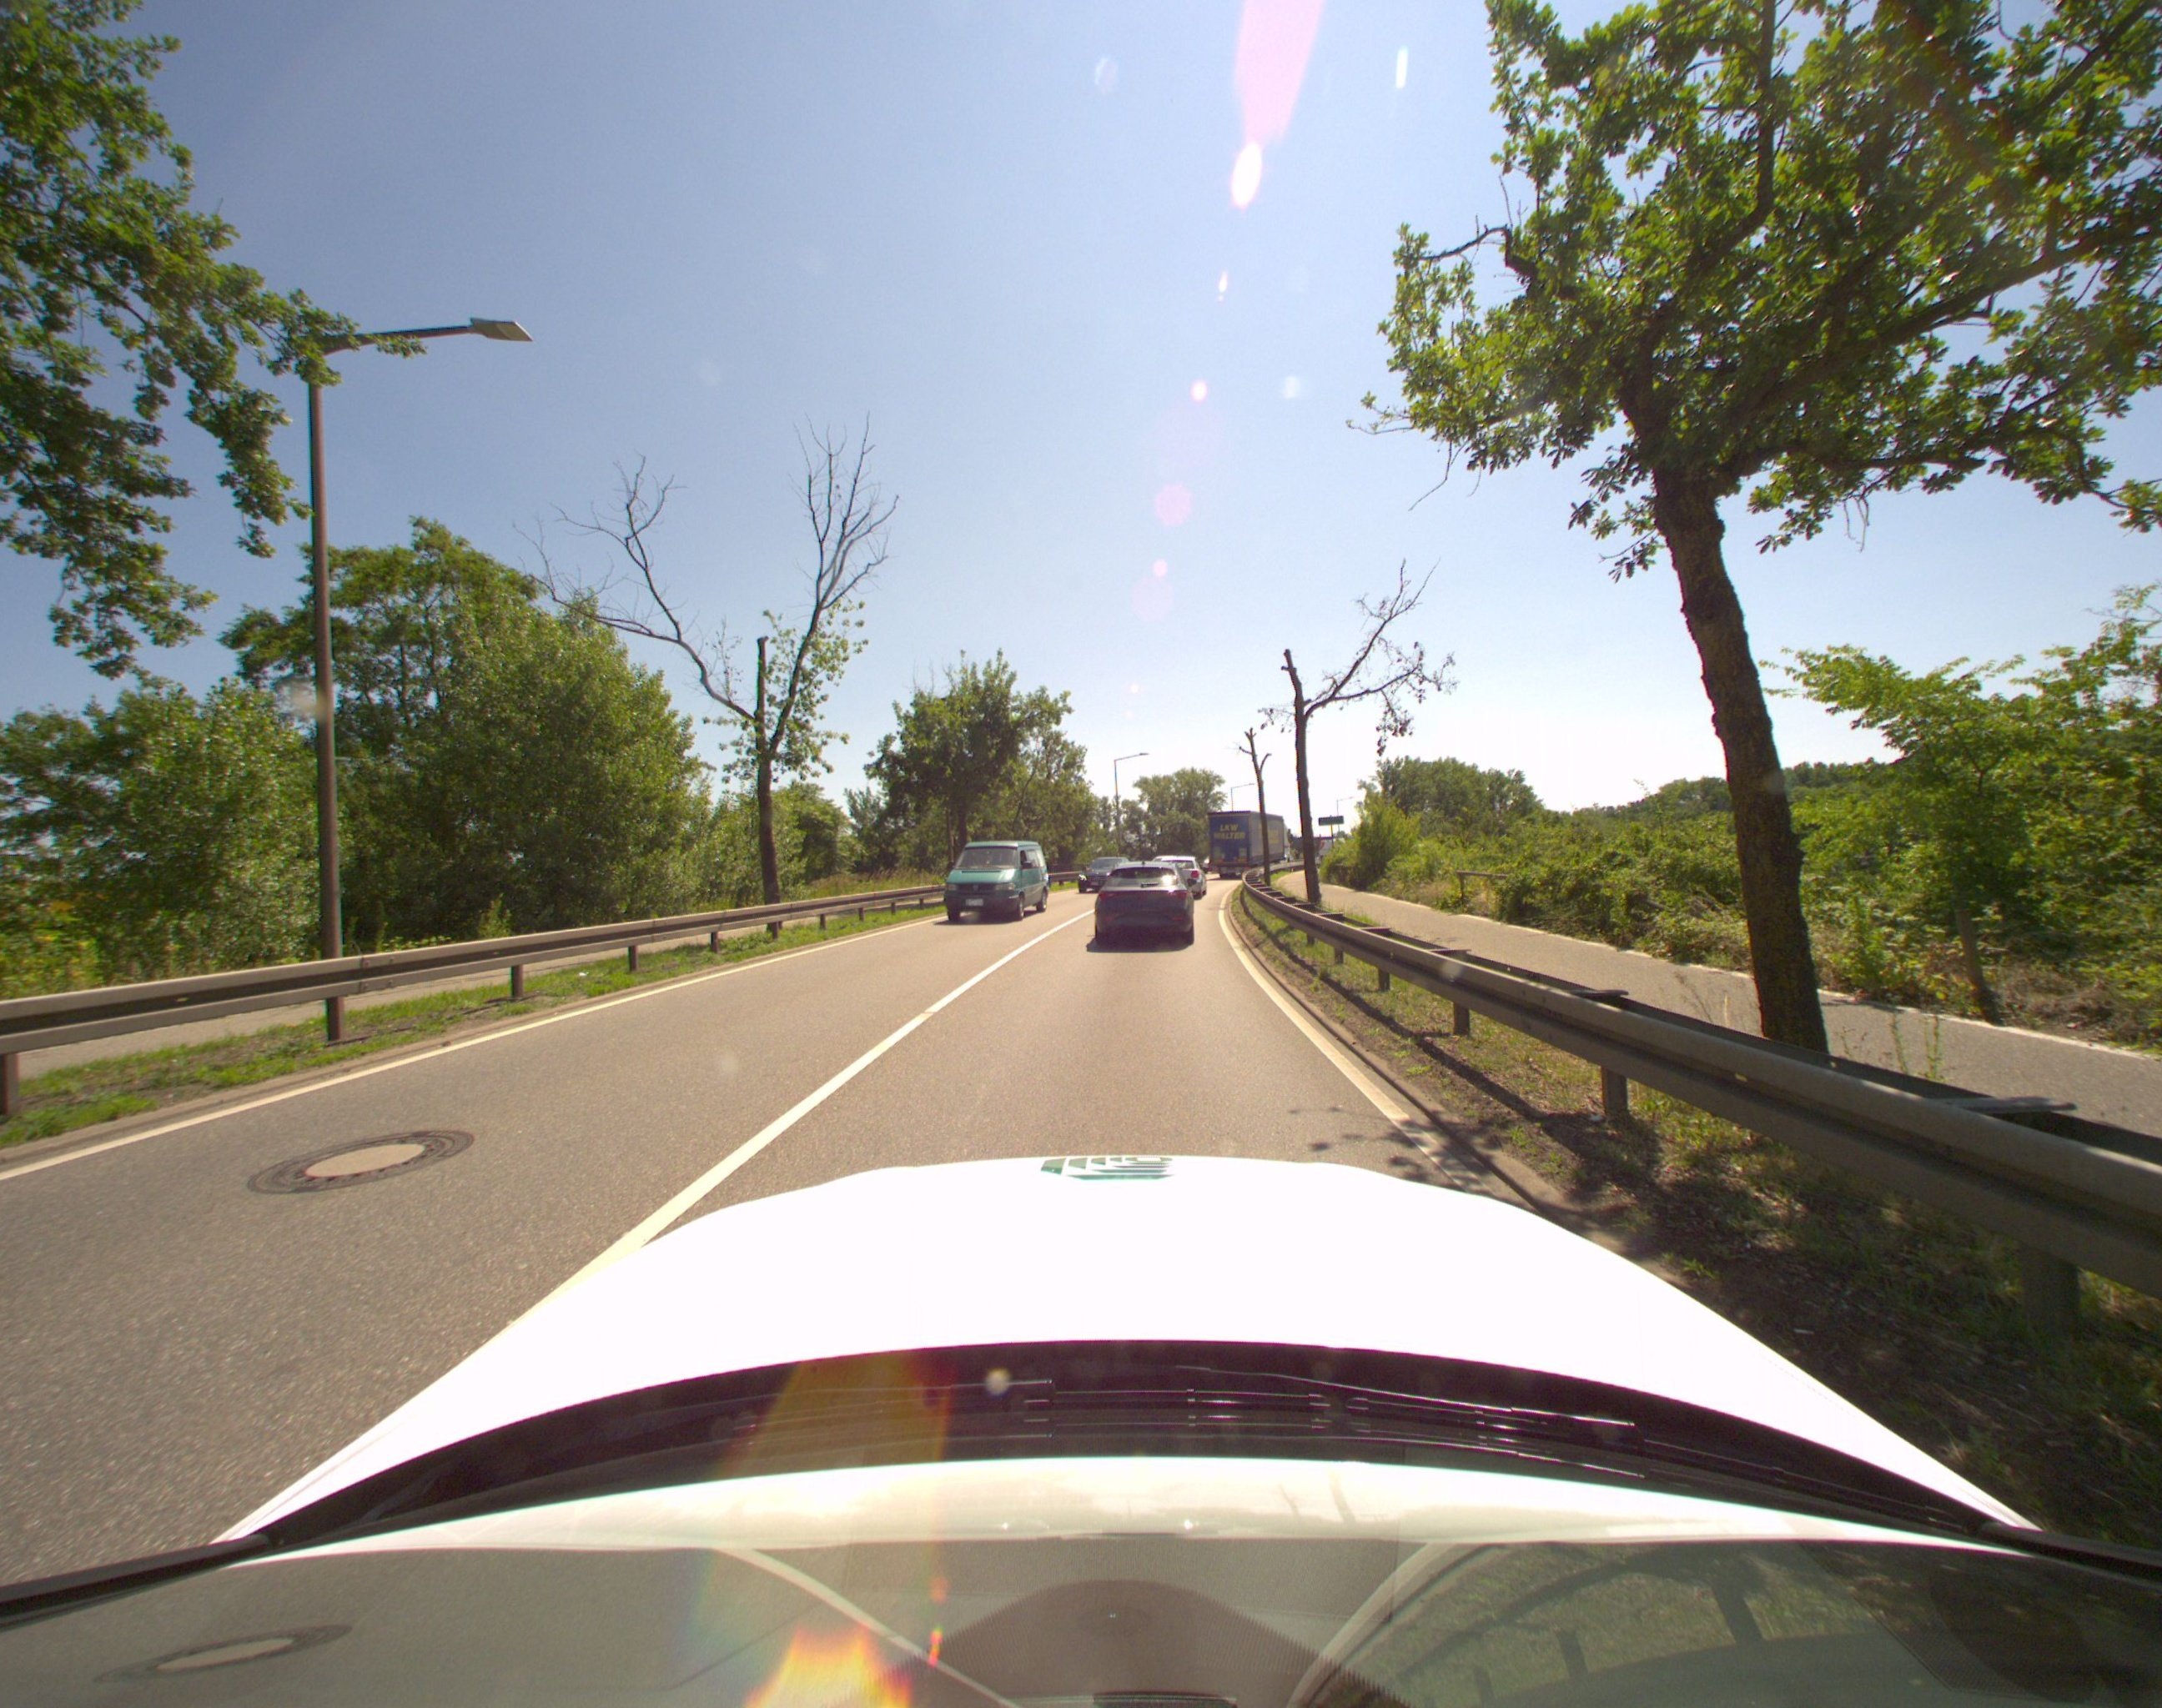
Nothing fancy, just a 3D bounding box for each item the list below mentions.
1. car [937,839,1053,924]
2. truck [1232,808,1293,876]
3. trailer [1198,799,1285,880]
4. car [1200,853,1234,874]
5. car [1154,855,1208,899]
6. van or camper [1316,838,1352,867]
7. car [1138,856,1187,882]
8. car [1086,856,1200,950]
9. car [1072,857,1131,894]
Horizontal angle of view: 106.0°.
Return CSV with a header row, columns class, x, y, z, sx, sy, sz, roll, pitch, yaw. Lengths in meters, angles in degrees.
class,x,y,z,sx,sy,sz,roll,pitch,yaw
car,-2.093,0.645,21.297,1.819,1.938,4.787,-1,0,8
truck,13.406,-0.775,59.774,3.142,4.585,7.435,-1,-1,22
trailer,10.809,-0.815,53.455,3.107,4.614,13.017,0,0,22
car,10.546,0.683,62.976,1.731,1.546,4.415,-1,0,21
car,3.599,0.772,28.789,1.582,1.461,3.556,0,0,12
van or camper,25.304,-0.159,81.392,2.182,2.711,5.962,-2,0,29
car,4.728,0.836,46.935,1.686,1.447,4.482,-1,0,21
car,1.194,0.814,15.249,1.836,1.499,3.763,-1,0,5
car,0.955,0.886,35.041,1.835,1.467,4.753,-1,0,10
